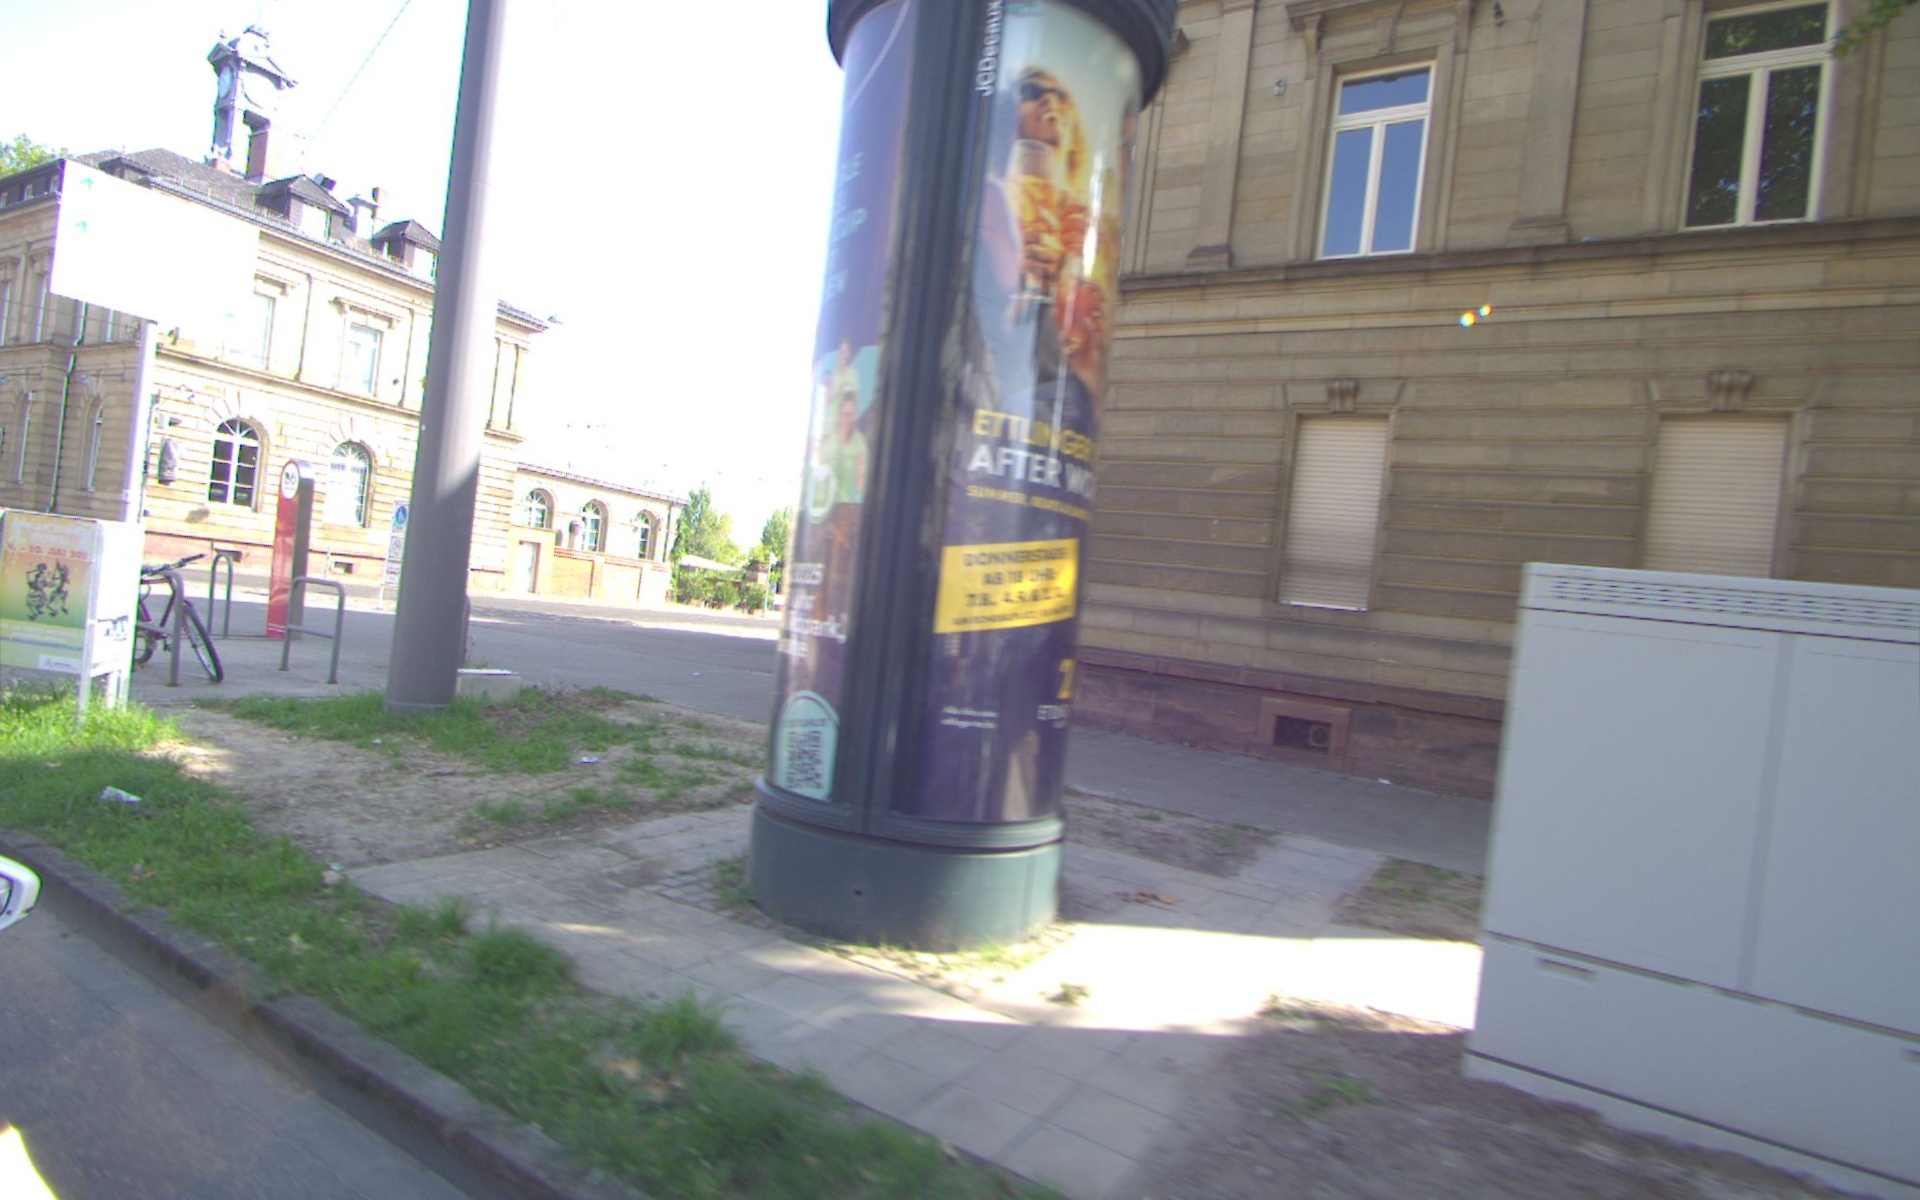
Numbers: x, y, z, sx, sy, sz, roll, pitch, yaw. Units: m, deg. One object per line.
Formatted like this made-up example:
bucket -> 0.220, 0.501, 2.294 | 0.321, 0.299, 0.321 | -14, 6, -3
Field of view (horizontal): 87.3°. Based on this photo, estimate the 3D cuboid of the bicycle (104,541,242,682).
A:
bicycle -> -6.453, 0.081, 8.233 | 1.354, 0.999, 0.410 | 7, 1, 33
